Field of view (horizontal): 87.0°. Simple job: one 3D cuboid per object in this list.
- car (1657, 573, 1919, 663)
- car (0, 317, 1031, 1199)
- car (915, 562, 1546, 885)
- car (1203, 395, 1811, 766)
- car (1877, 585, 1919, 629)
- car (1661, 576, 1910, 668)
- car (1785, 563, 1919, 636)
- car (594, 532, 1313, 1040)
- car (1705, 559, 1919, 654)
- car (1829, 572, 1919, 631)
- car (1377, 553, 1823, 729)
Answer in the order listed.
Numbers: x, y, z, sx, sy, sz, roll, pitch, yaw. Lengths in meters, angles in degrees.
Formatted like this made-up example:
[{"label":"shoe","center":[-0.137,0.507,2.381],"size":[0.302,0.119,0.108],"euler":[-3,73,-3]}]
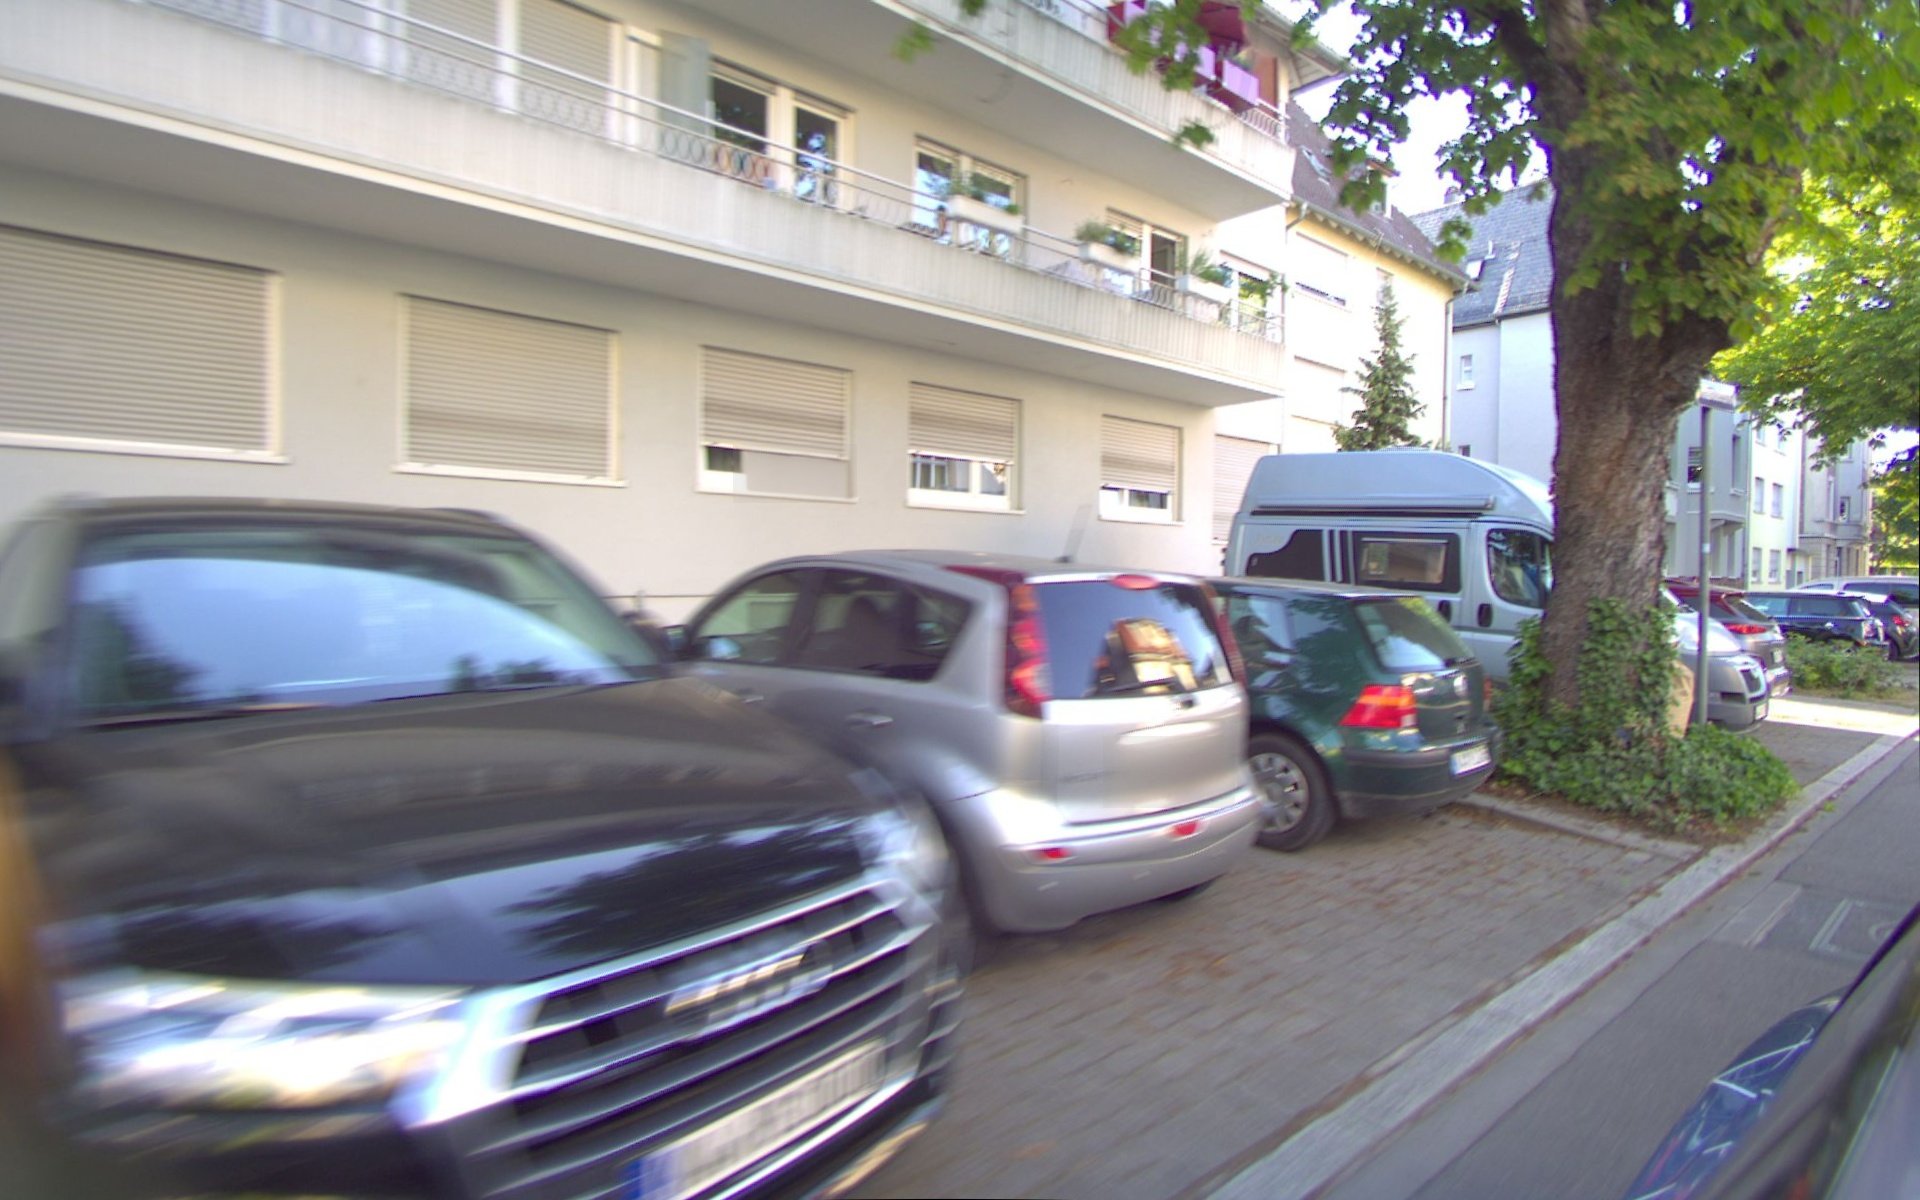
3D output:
[{"label":"car","center":[17.475,0.298,21.304],"size":[1.729,1.559,4.307],"euler":[0,3,-43]},{"label":"car","center":[-1.969,0.473,3.069],"size":[4.175,1.744,1.739],"euler":[4,3,42]},{"label":"car","center":[1.541,0.511,6.744],"size":[1.729,1.448,3.727],"euler":[-2,4,-42]},{"label":"car","center":[5.359,-0.301,10.586],"size":[2.041,2.937,5.103],"euler":[0,3,-43]},{"label":"car","center":[34.897,0.321,35.596],"size":[1.646,1.515,3.680],"euler":[1,3,-40]},{"label":"car","center":[15.831,0.351,19.517],"size":[1.728,1.444,3.411],"euler":[0,3,-40]},{"label":"car","center":[27.310,0.008,29.413],"size":[1.915,1.960,4.819],"euler":[1,3,-40]},{"label":"car","center":[-0.372,0.476,5.077],"size":[1.610,1.573,3.730],"euler":[0,3,-39]},{"label":"car","center":[19.740,0.092,22.941],"size":[1.729,1.907,4.307],"euler":[-1,4,-43]},{"label":"car","center":[29.902,0.079,31.335],"size":[1.758,1.725,4.212],"euler":[1,3,-37]},{"label":"car","center":[7.527,0.339,12.263],"size":[1.728,1.587,4.198],"euler":[0,4,-42]}]
